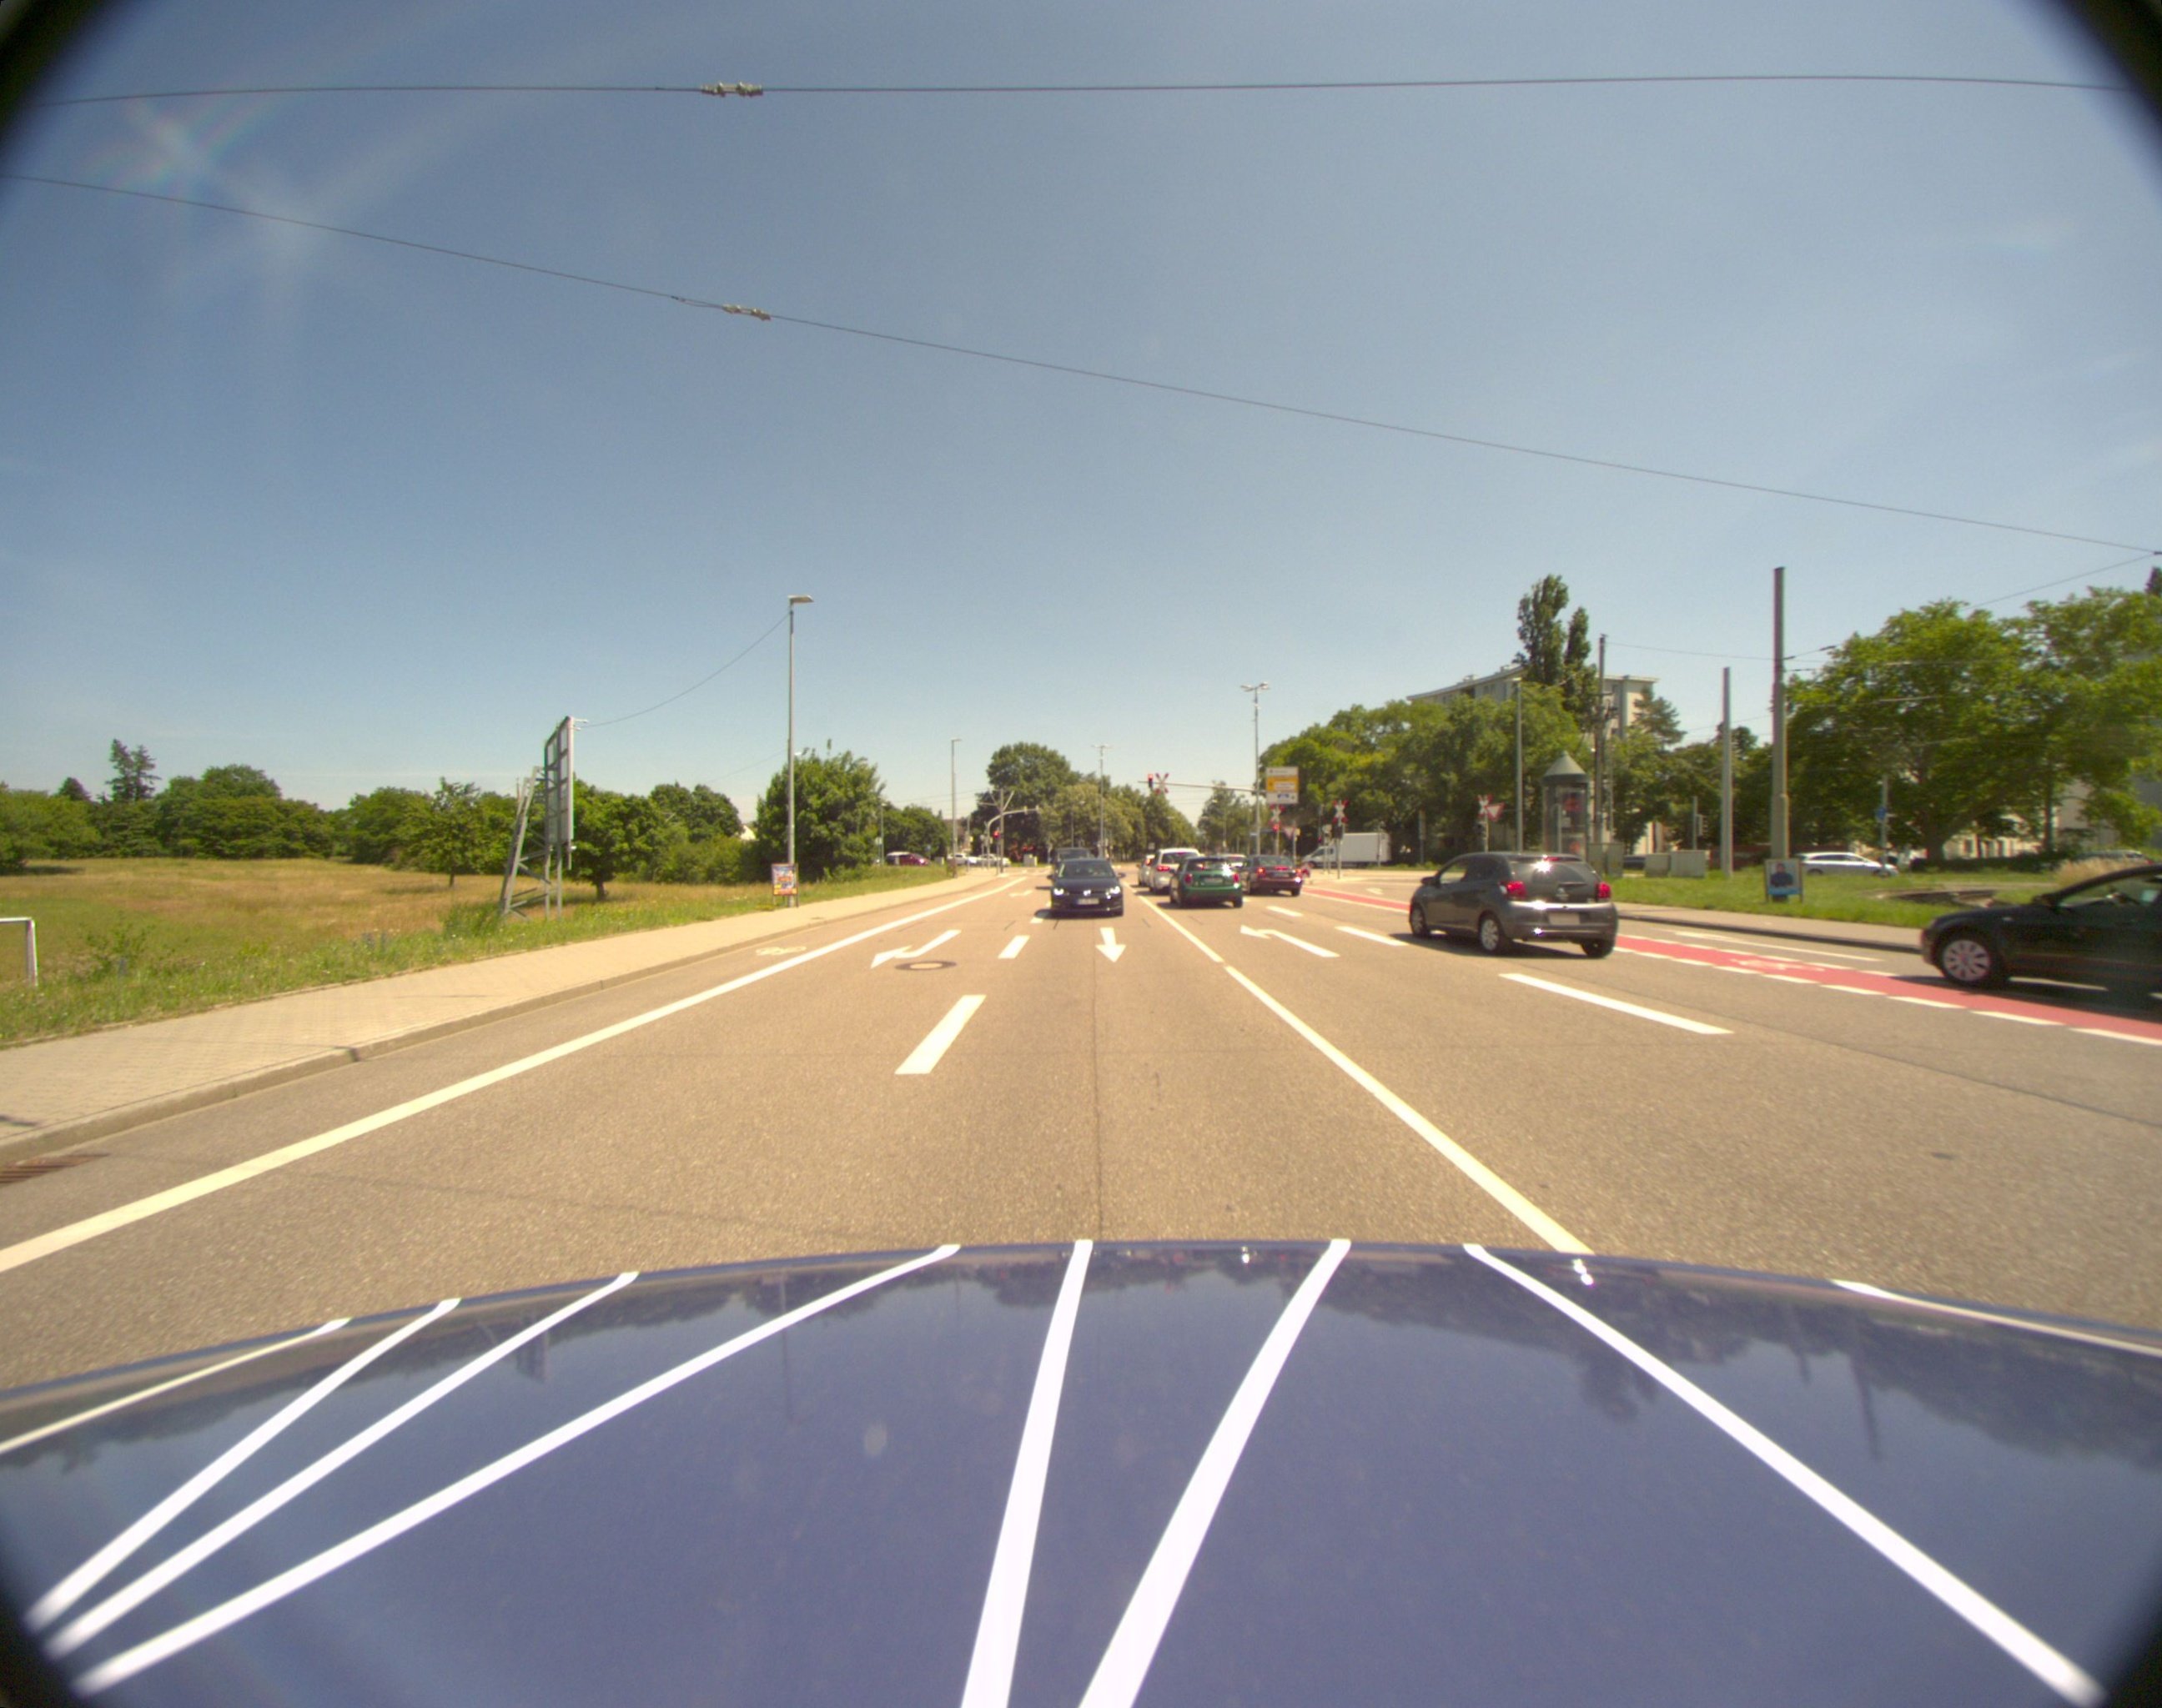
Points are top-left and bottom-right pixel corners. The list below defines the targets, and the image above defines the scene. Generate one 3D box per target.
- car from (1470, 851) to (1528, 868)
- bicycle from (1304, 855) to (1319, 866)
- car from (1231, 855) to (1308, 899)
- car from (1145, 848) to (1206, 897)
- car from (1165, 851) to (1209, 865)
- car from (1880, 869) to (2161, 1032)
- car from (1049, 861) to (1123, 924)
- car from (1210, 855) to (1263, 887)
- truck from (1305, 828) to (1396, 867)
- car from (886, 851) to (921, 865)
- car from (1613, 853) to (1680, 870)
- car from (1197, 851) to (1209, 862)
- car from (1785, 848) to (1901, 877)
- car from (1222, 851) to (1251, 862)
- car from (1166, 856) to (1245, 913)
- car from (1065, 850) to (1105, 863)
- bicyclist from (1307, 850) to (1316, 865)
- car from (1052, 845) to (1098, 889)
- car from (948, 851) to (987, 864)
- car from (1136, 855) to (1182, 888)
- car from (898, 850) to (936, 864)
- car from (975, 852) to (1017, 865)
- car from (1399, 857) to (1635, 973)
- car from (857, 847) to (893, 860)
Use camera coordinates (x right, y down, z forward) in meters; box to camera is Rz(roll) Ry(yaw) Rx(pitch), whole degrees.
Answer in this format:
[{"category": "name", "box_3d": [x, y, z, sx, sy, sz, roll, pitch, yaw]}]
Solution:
[{"category": "car", "box_3d": [33.606, 0.426, 61.120, 3.989, 1.279, 1.751, 0, -2, 30]}, {"category": "bicycle", "box_3d": [23.117, 0.666, 76.250, 0.616, 1.057, 1.803, -1, 3, -13]}, {"category": "car", "box_3d": [6.816, 0.783, 27.874, 1.764, 1.448, 4.285, 0, 0, 0]}, {"category": "car", "box_3d": [3.583, 0.647, 29.507, 1.816, 1.713, 4.831, -1, 0, 1]}, {"category": "car", "box_3d": [11.114, 0.435, 79.724, 4.203, 1.416, 1.853, 0, 0, 32]}, {"category": "car", "box_3d": [10.440, 0.886, 6.985, 1.747, 1.397, 4.443, 1, 0, 5]}, {"category": "car", "box_3d": [0.133, 0.911, 19.764, 1.708, 1.396, 4.053, -1, 0, 0]}, {"category": "car", "box_3d": [7.463, 0.767, 36.847, 1.795, 1.447, 4.413, 0, 0, 2]}, {"category": "truck", "box_3d": [25.305, -0.563, 71.556, 7.690, 3.511, 2.594, 0, -2, 32]}, {"category": "car", "box_3d": [-23.381, 0.482, 100.066, 4.380, 1.782, 1.901, 0, -2, 30]}, {"category": "car", "box_3d": [44.230, 0.619, 59.558, 3.989, 1.279, 1.891, 0, -2, 30]}, {"category": "car", "box_3d": [19.765, 0.401, 123.032, 1.808, 1.707, 4.347, 0, -1, 10]}, {"category": "car", "box_3d": [42.424, 0.504, 42.445, 4.246, 1.536, 1.751, 0, -2, 29]}, {"category": "car", "box_3d": [20.555, 0.311, 100.483, 3.488, 1.419, 1.586, -1, -2, 6]}, {"category": "car", "box_3d": [3.503, 0.818, 22.016, 1.727, 1.454, 3.990, -1, 0, 2]}, {"category": "car", "box_3d": [0.469, 0.279, 86.512, 4.203, 1.416, 1.853, 0, 0, 32]}, {"category": "bicyclist", "box_3d": [23.114, 0.357, 76.223, 0.616, 1.460, 0.628, -1, 3, -14]}, {"category": "car", "box_3d": [-0.360, 0.563, 36.472, 1.942, 1.920, 4.844, -2, 1, -3]}, {"category": "car", "box_3d": [-13.518, 0.393, 90.468, 4.399, 1.567, 1.879, 0, -1, 32]}, {"category": "car", "box_3d": [3.646, 0.784, 36.247, 1.772, 1.429, 3.960, -2, 0, 0]}, {"category": "car", "box_3d": [-19.482, 0.352, 90.129, 4.399, 1.567, 1.879, 0, -1, 32]}, {"category": "car", "box_3d": [-9.477, 0.541, 84.195, 4.399, 1.380, 1.879, 0, -1, 32]}, {"category": "car", "box_3d": [6.411, 0.796, 11.648, 1.626, 1.447, 3.501, 1, 1, 1]}, {"category": "car", "box_3d": [-25.421, -0.035, 93.692, 4.399, 1.567, 1.879, 0, -1, 32]}]
